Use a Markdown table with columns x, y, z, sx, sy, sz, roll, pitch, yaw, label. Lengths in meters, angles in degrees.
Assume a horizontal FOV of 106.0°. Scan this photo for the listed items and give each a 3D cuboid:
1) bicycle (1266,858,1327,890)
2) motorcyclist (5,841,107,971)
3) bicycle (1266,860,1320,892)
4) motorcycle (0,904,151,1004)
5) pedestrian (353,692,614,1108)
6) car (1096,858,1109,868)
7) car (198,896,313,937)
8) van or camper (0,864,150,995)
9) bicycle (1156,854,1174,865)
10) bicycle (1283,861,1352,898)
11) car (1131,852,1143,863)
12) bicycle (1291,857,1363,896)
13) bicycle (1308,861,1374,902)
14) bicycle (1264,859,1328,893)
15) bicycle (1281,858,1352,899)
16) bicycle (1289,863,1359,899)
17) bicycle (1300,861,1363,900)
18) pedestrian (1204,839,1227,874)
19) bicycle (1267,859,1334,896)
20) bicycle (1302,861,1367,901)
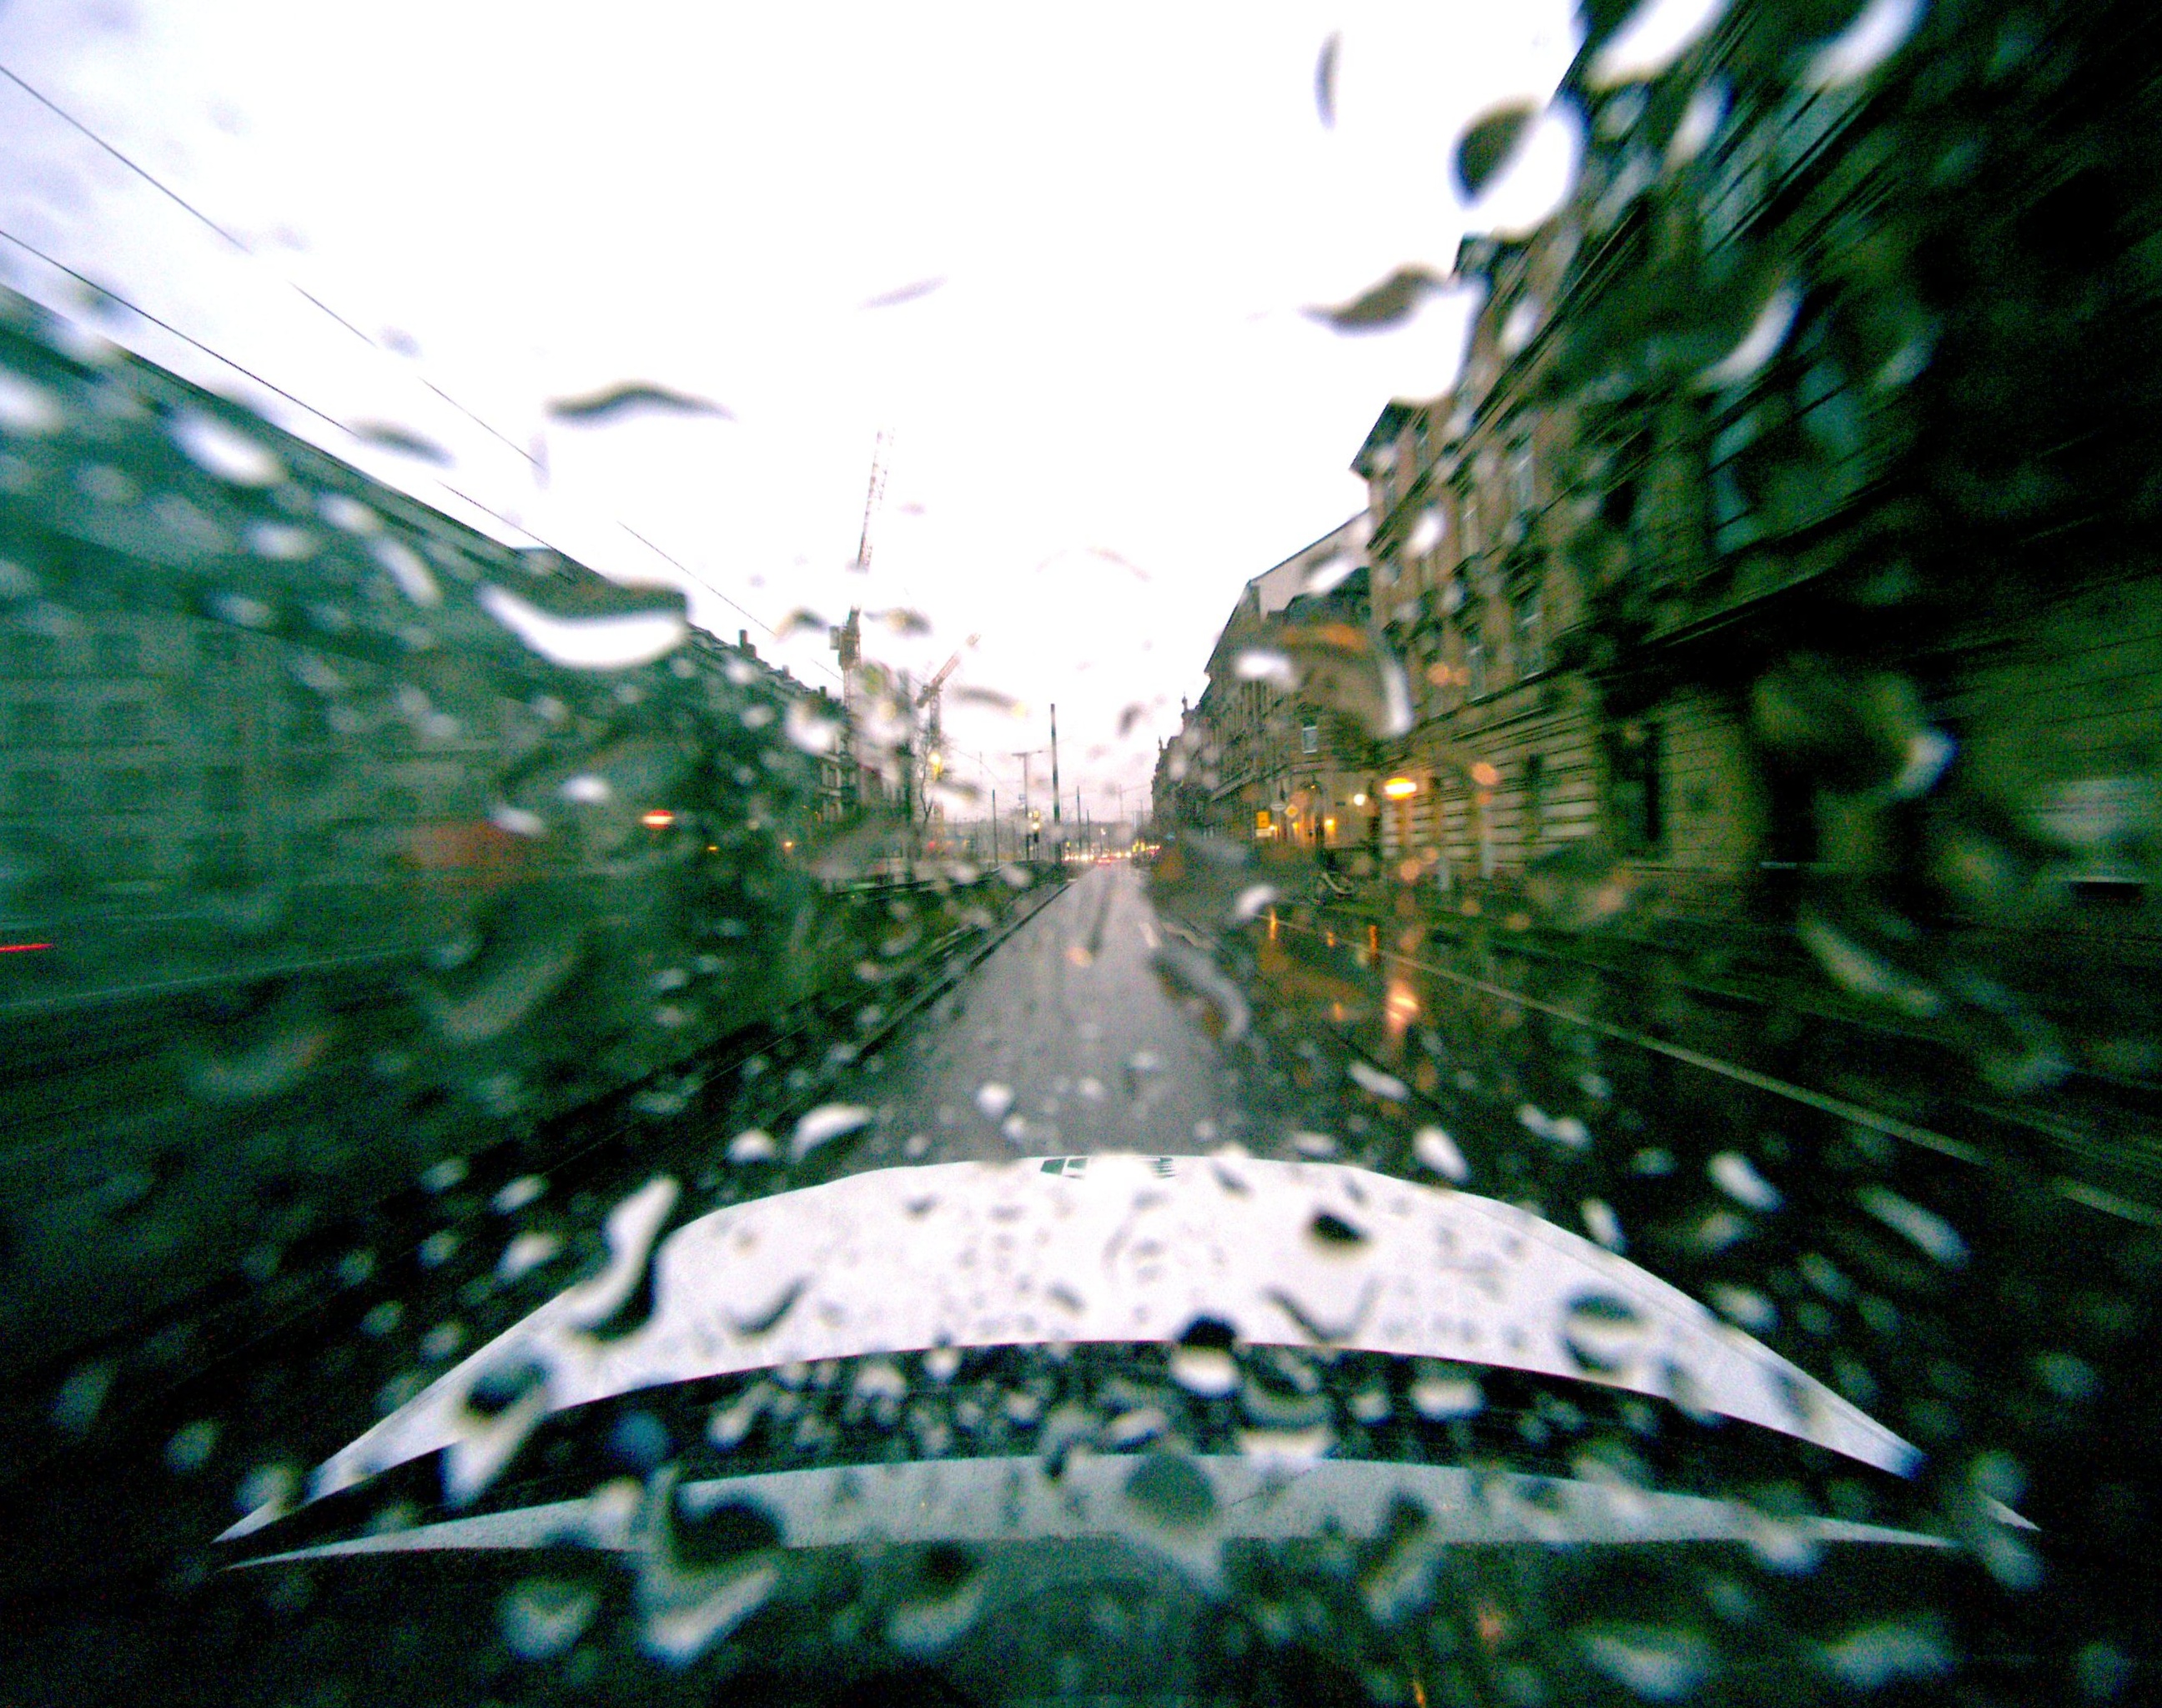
| x | y | z | sx | sy | sz | roll | pitch | yaw | label |
| --- | --- | --- | --- | --- | --- | --- | --- | --- | --- |
| 7.898 | 0.735 | 29.901 | 2.081 | 1.052 | 0.478 | -4 | 0 | 0 | bicycle |
| -12.224 | 0.600 | 9.727 | 0.498 | 1.496 | 0.556 | -1 | 0 | -4 | motorcyclist |
| 8.001 | 0.811 | 30.727 | 2.098 | 1.052 | 0.474 | -4 | 0 | -25 | bicycle |
| -12.213 | 1.153 | 9.580 | 0.511 | 1.008 | 1.805 | -1 | 0 | -2 | motorcycle |
| -3.304 | 0.231 | 4.596 | 0.807 | 2.110 | 0.804 | -2 | 0 | -1 | pedestrian |
| 3.248 | 1.338 | 122.625 | 1.776 | 1.467 | 3.151 | -2 | 0 | 3 | car |
| -34.511 | 2.578 | 34.174 | 1.451 | 1.425 | 3.313 | -3 | 0 | -3 | car |
| -23.821 | 1.587 | 16.038 | 2.757 | 2.682 | 6.770 | -1 | 0 | 9 | van or camper |
| 9.195 | 0.581 | 88.861 | 1.845 | 1.058 | 0.471 | -3 | 0 | -1 | bicycle |
| 7.442 | 0.794 | 25.674 | 2.001 | 0.971 | 0.425 | -5 | 0 | 0 | bicycle |
| 9.070 | 0.505 | 131.271 | 1.791 | 1.604 | 3.774 | -3 | 0 | 4 | car |
| 7.992 | 0.722 | 26.483 | 2.137 | 1.055 | 0.425 | -5 | 1 | 0 | bicycle |
| 7.406 | 0.774 | 23.207 | 1.724 | 1.055 | 0.371 | -4 | 0 | 0 | bicycle |
| 7.553 | 0.764 | 28.636 | 2.081 | 1.052 | 0.478 | -4 | 0 | 0 | bicycle |
| 7.272 | 0.754 | 25.155 | 2.001 | 1.095 | 0.425 | -5 | 0 | 0 | bicycle |
| 8.046 | 0.886 | 27.038 | 2.137 | 1.055 | 0.484 | -4 | 0 | 0 | bicycle |
| 7.503 | 0.783 | 24.390 | 1.724 | 1.055 | 0.371 | -4 | 0 | 0 | bicycle |
| 7.879 | 0.149 | 47.679 | 0.858 | 2.013 | 0.910 | -2 | 0 | -28 | pedestrian |
| 7.576 | 0.800 | 28.106 | 2.137 | 1.055 | 0.425 | -5 | 1 | 0 | bicycle |
| 7.361 | 0.779 | 23.709 | 1.724 | 1.055 | 0.371 | -4 | 0 | 0 | bicycle |
